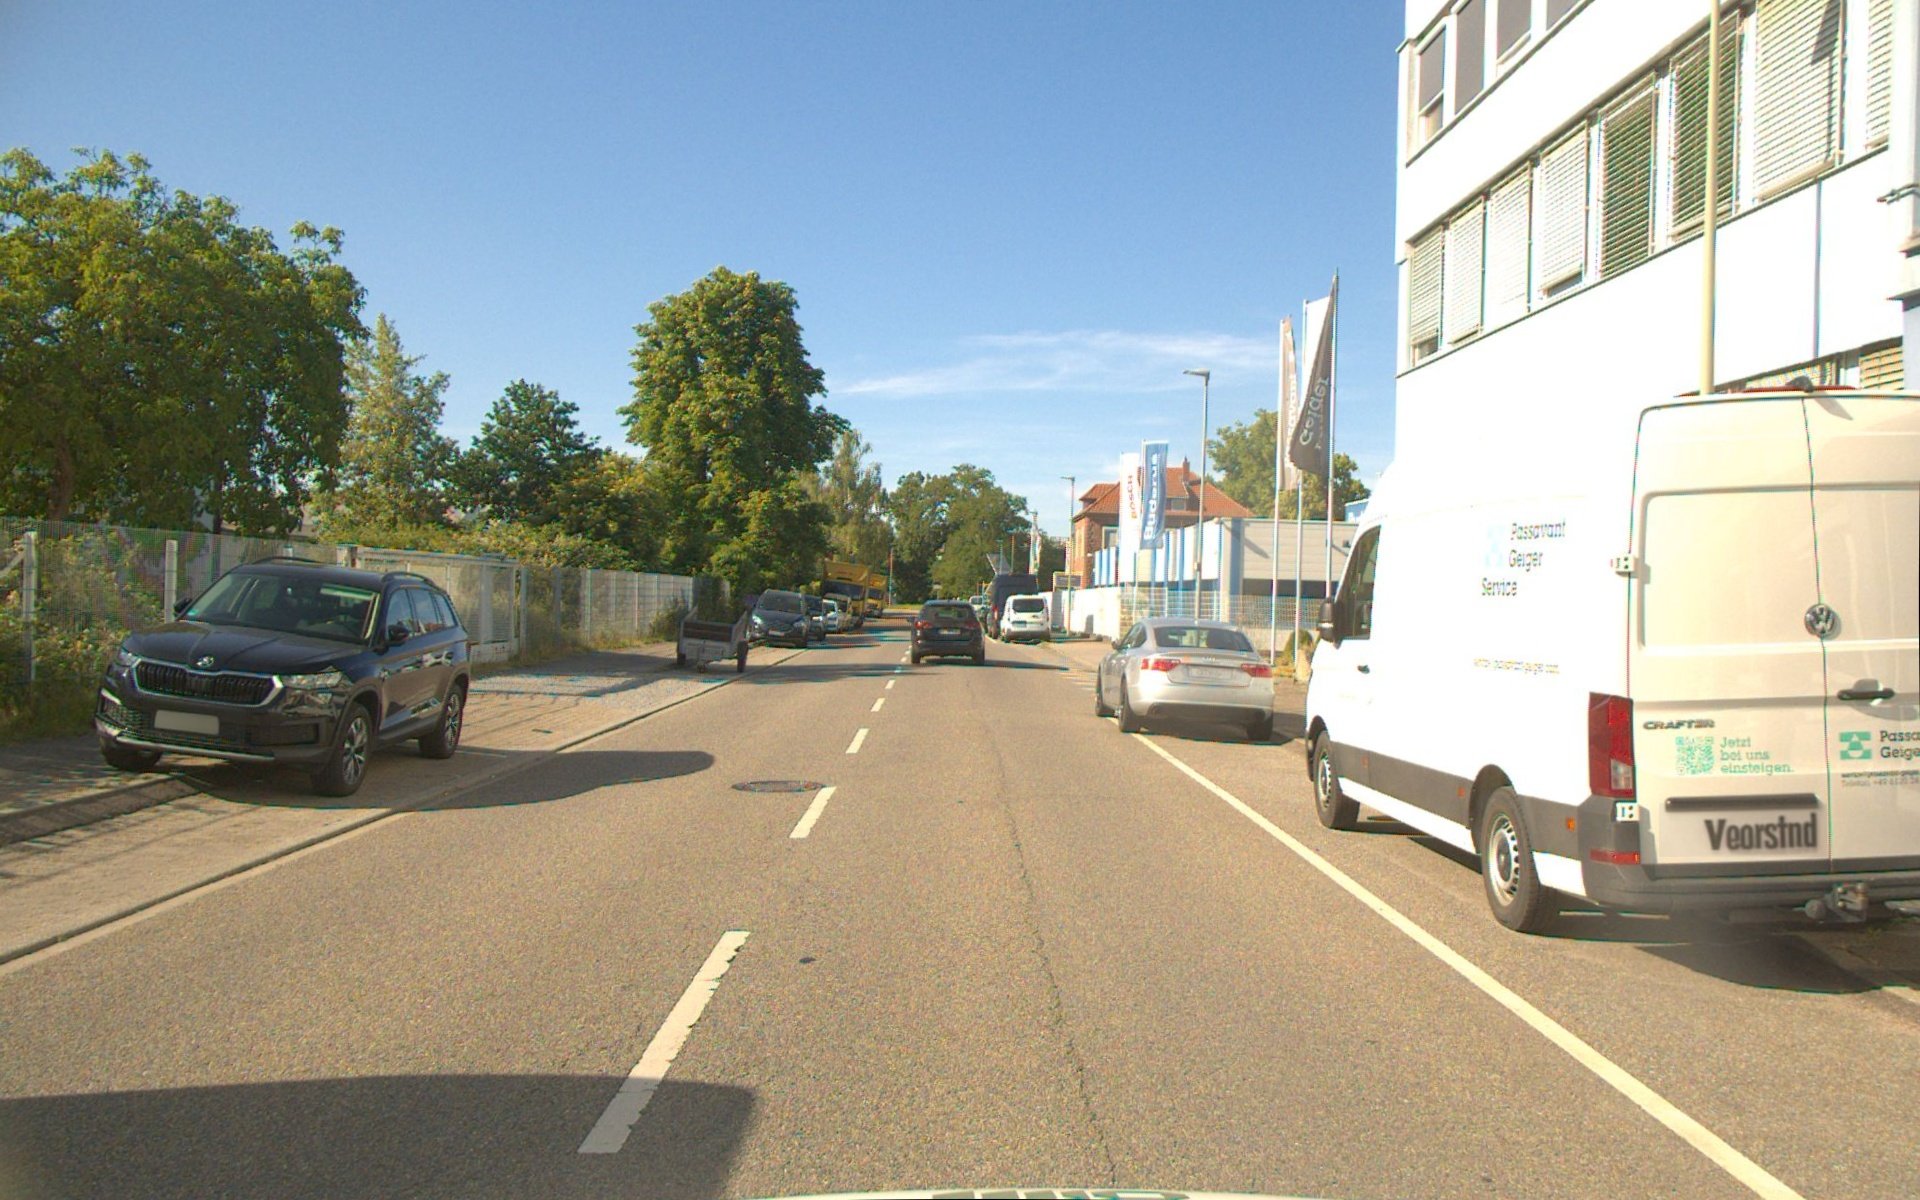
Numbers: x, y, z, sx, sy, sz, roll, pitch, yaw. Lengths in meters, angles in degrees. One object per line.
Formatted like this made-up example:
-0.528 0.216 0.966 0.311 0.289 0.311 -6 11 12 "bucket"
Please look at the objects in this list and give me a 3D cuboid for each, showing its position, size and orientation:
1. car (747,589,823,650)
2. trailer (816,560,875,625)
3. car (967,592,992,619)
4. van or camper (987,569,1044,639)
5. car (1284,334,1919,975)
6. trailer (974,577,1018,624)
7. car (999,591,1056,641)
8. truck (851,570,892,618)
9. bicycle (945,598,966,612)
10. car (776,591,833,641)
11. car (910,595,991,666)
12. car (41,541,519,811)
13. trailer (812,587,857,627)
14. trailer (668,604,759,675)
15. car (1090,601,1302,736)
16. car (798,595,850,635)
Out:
-5.619 0.596 53.520 1.755 1.761 4.803 3 0 1 "car"
-6.481 -0.400 94.543 2.931 3.503 8.158 1 0 -2 "trailer"
1.537 0.429 132.143 1.836 2.049 5.160 3 0 0 "car"
2.354 0.182 72.082 2.097 2.807 6.160 3 0 -1 "van or camper"
3.587 0.159 9.883 1.953 2.643 6.049 0 1 -2 "car"
2.182 0.026 102.104 2.410 2.719 5.700 1 0 -1 "trailer"
2.619 0.627 65.643 1.848 1.829 5.102 3 0 -1 "car"
-7.344 -0.578 138.130 2.580 3.564 8.656 7 1 0 "truck"
-0.469 0.467 154.928 0.797 1.290 2.231 3 -1 -35 "bicycle"
-6.004 0.604 64.339 1.871 1.691 4.461 6 0 -3 "car"
-0.207 0.691 39.725 1.809 1.557 4.000 1 0 0 "car"
-5.465 0.520 14.201 1.990 1.723 5.105 5 0 -2 "car"
-6.321 0.346 83.634 1.953 1.975 4.414 1 0 -1 "trailer"
-5.247 0.806 35.475 1.447 1.377 3.078 3 0 -1 "trailer"
2.876 0.788 21.297 1.856 1.429 5.123 3 0 -1 "car"
-6.356 0.673 77.706 1.870 1.620 5.025 6 0 0 "car"
